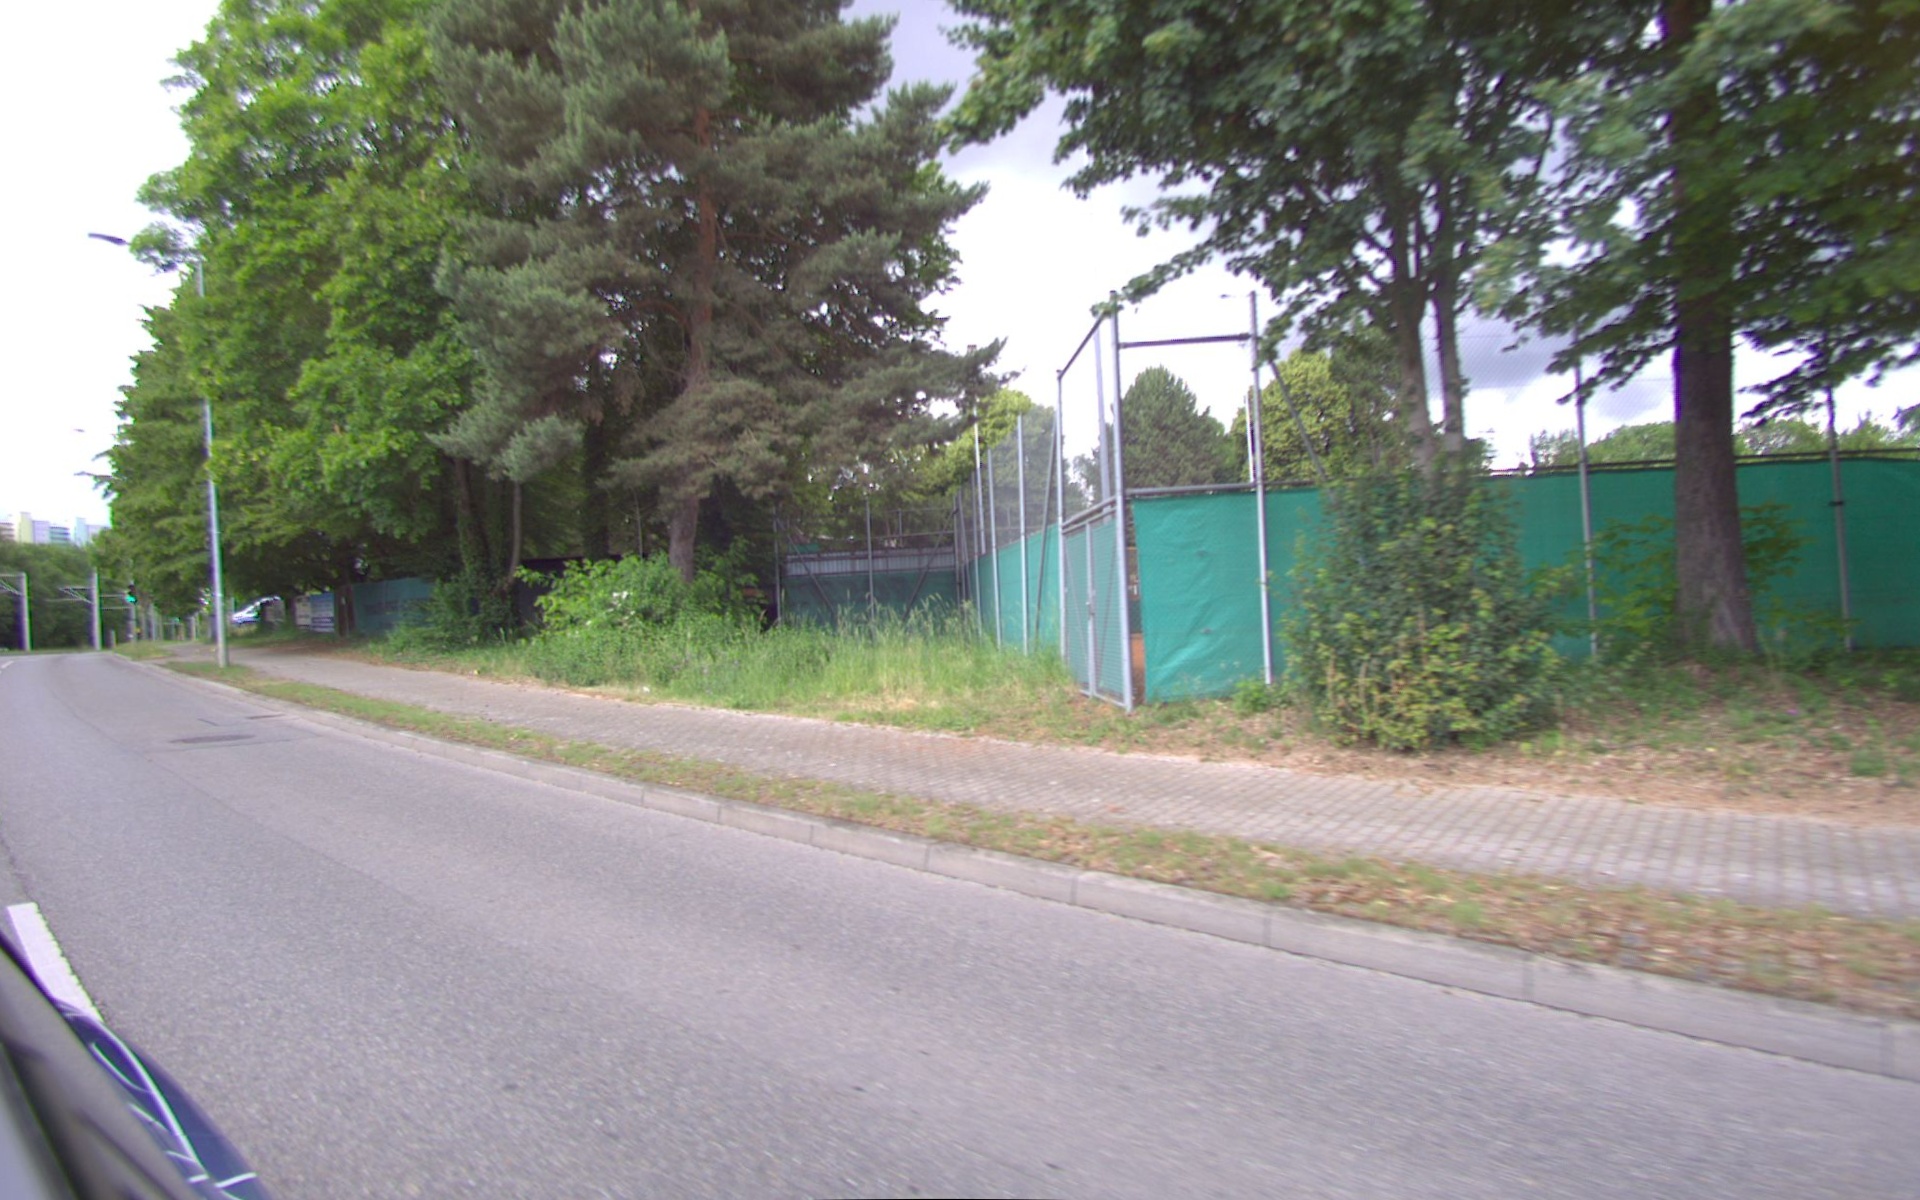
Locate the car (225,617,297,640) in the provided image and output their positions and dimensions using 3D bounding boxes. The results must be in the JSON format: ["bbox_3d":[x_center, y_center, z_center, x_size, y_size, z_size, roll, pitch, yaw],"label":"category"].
[{"bbox_3d":[-51.597,2.078,74.811,4.319,1.326,1.567,-4,-1,-34],"label":"car"}]

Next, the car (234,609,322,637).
[{"bbox_3d":[-48.526,1.612,72.104,5.087,1.573,1.891,-4,-1,-34],"label":"car"}]

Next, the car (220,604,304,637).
[{"bbox_3d":[-53.277,1.563,77.386,5.087,2.122,2.220,-4,-1,-34],"label":"car"}]
